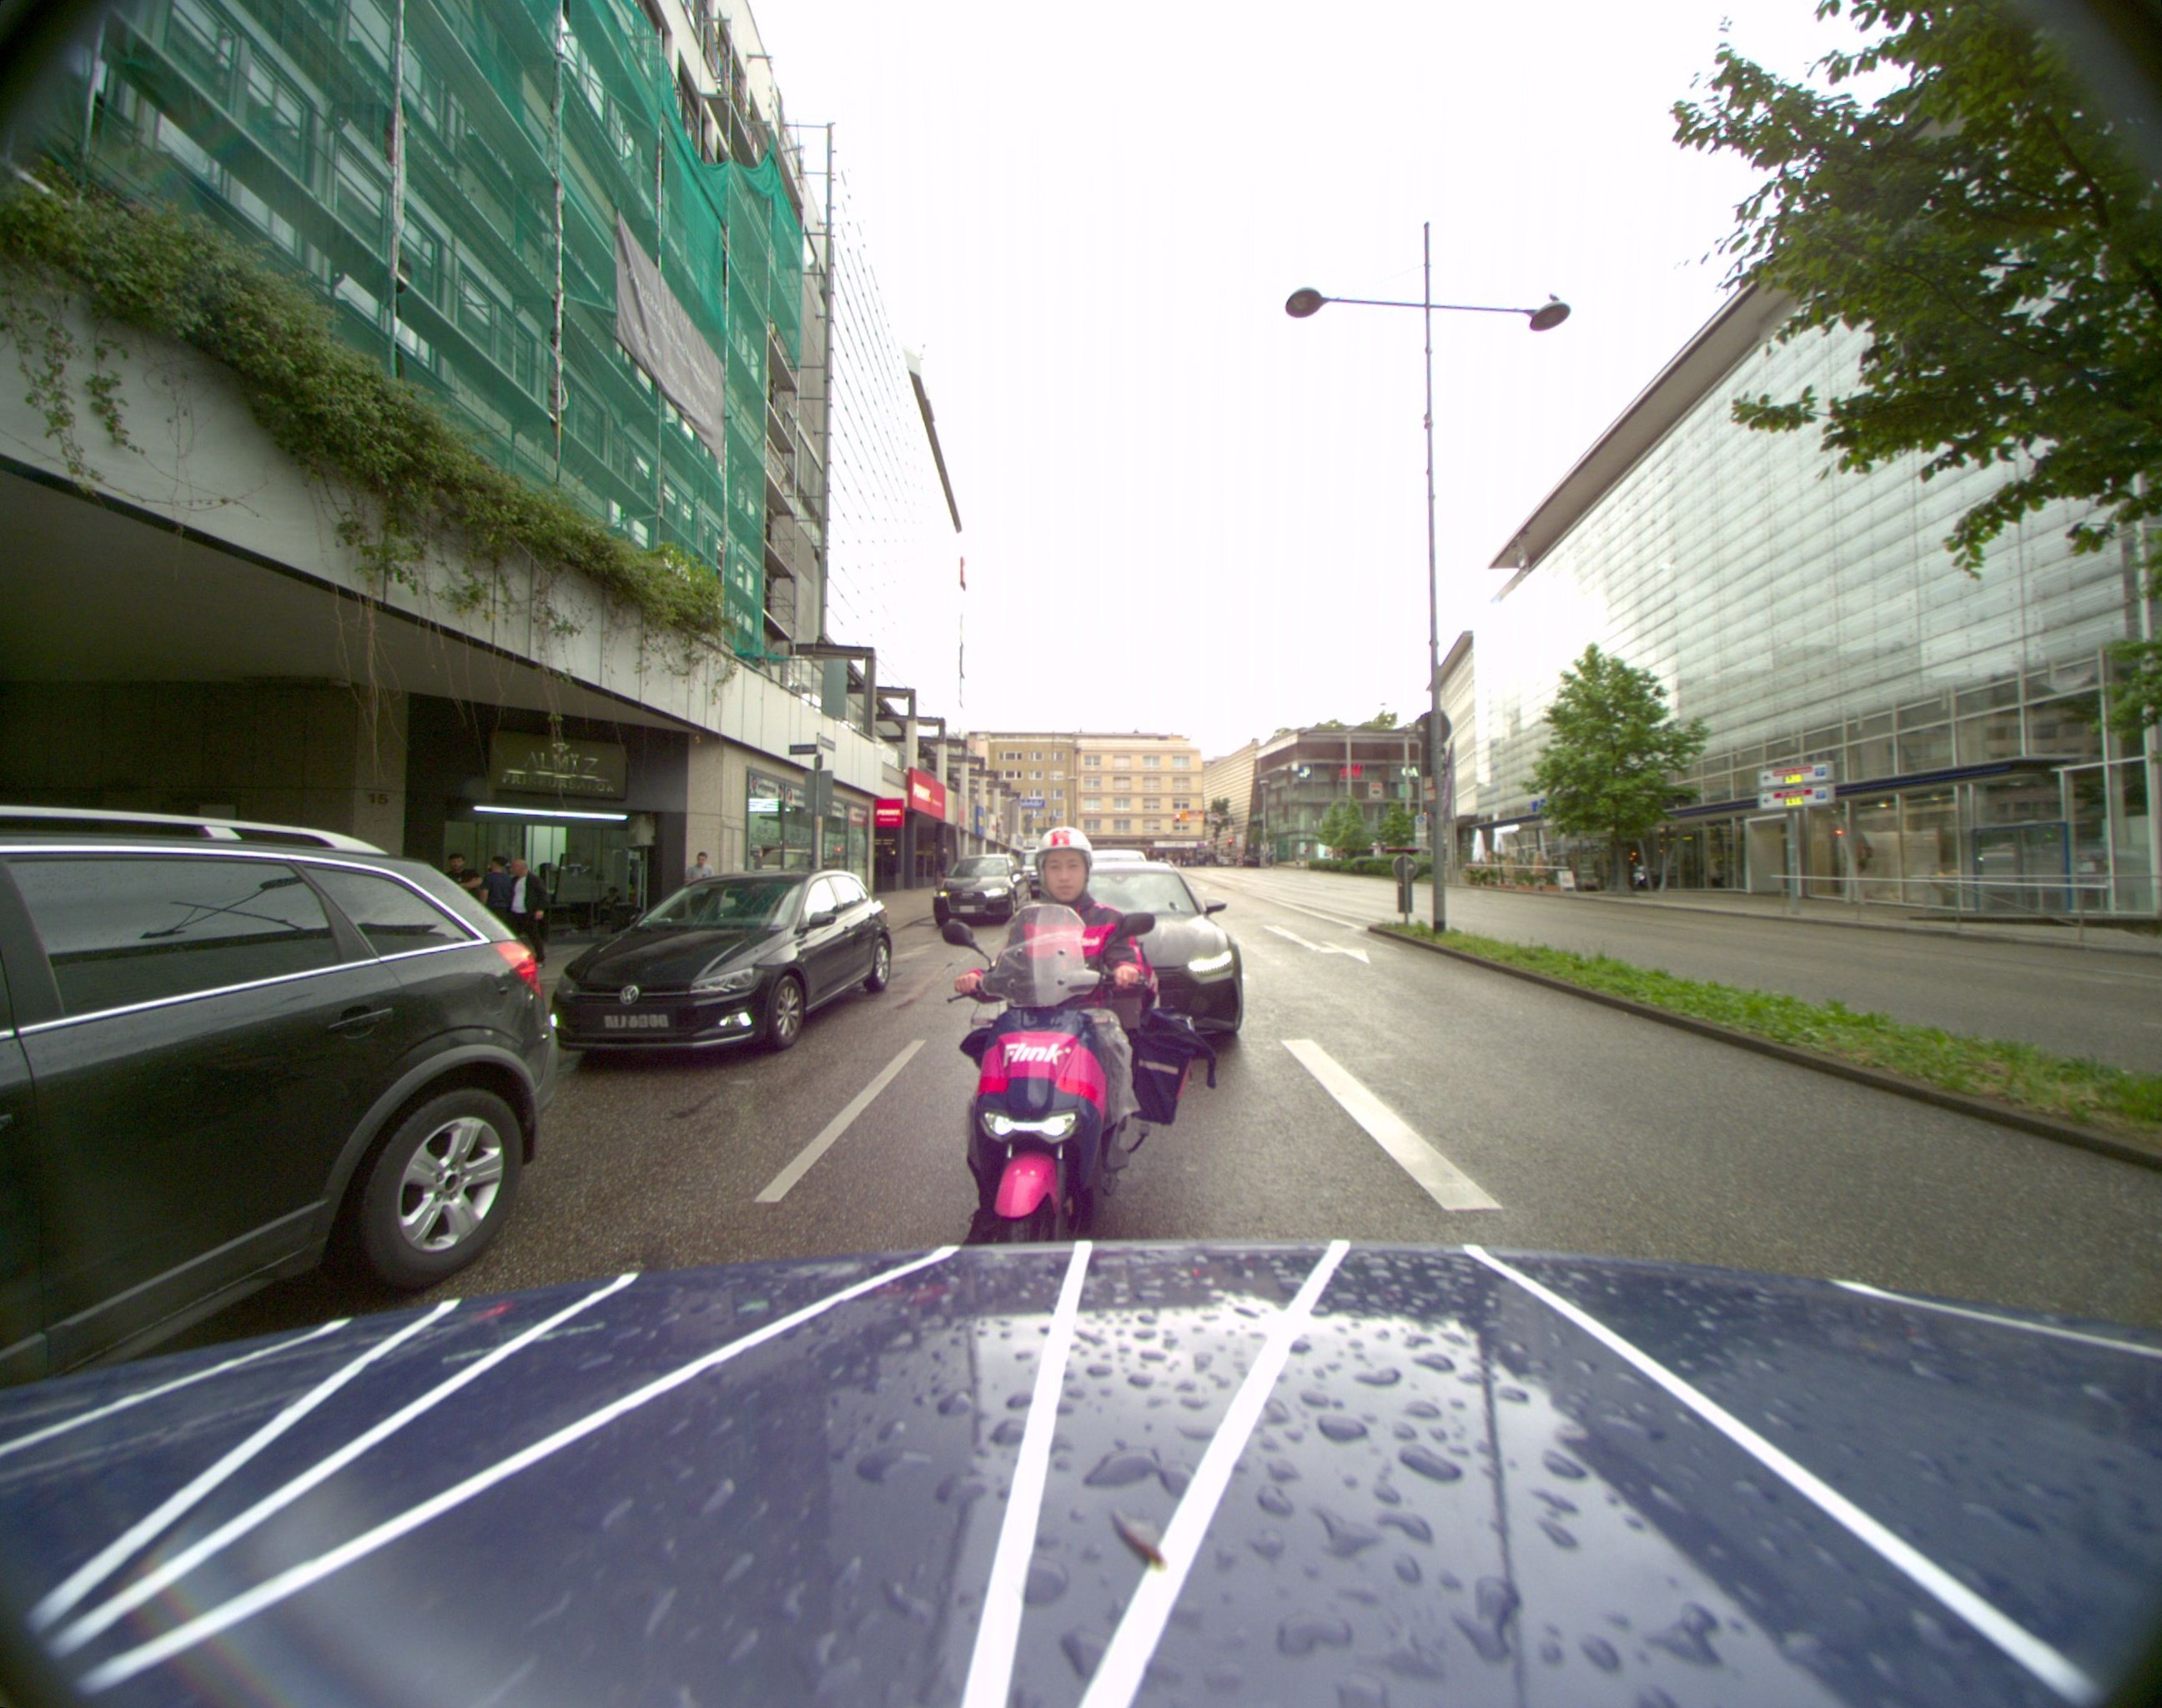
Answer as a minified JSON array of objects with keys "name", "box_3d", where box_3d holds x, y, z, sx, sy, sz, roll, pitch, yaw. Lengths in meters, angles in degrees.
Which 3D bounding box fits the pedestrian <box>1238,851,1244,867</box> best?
[{"name":"pedestrian","box_3d":[17.997,0.512,85.428,0.626,1.764,0.689,-2,2,7]}]

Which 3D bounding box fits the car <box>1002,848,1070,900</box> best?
[{"name":"car","box_3d":[-1.533,0.684,27.530,1.988,1.696,4.165,-2,-1,2]}]

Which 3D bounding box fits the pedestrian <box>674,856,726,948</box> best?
[{"name":"pedestrian","box_3d":[-7.059,0.869,14.111,0.639,1.633,0.733,-2,2,-12]}]

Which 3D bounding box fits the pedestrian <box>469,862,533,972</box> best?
[{"name":"pedestrian","box_3d":[-8.757,0.926,11.494,0.640,1.586,0.576,-3,2,-32]}]

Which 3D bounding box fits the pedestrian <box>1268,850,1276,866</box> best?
[{"name":"pedestrian","box_3d":[21.458,0.464,85.359,0.626,1.764,0.689,-2,2,5]}]

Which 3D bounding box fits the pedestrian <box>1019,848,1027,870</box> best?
[{"name":"pedestrian","box_3d":[-3.948,0.339,51.547,0.510,1.492,0.579,0,2,0]}]

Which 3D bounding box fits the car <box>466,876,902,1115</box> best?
[{"name":"car","box_3d":[-3.194,1.027,7.228,1.759,1.495,4.165,-2,-1,3]}]

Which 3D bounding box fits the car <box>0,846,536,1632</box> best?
[{"name":"car","box_3d":[-3.331,0.883,1.240,1.764,1.755,4.164,-2,0,1]}]

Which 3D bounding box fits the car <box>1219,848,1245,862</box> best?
[{"name":"car","box_3d":[22.993,0.115,115.623,1.994,2.002,4.597,1,1,36]}]

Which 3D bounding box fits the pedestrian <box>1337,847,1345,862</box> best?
[{"name":"pedestrian","box_3d":[27.531,0.033,80.487,0.633,1.620,0.602,1,1,4]}]

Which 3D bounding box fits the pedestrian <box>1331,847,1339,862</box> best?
[{"name":"pedestrian","box_3d":[27.252,0.029,81.529,0.633,1.620,0.602,0,1,2]}]

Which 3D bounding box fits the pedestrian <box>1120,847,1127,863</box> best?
[{"name":"pedestrian","box_3d":[4.413,0.105,79.432,0.634,1.620,0.602,0,1,-1]}]

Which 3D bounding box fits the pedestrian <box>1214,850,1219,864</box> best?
[{"name":"pedestrian","box_3d":[15.563,0.338,87.284,0.428,1.620,0.602,1,1,3]}]

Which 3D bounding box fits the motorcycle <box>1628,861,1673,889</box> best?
[{"name":"motorcycle","box_3d":[28.020,1.031,37.395,1.707,1.319,0.620,0,1,1]}]

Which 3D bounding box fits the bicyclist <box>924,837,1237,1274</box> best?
[{"name":"bicyclist","box_3d":[0.006,0.716,3.118,1.063,1.534,0.825,-2,2,0]}]

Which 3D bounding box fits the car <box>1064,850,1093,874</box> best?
[{"name":"car","box_3d":[-0.146,0.613,57.850,1.988,1.696,4.165,-2,-1,2]}]

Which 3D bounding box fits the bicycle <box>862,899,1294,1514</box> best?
[{"name":"bicycle","box_3d":[0.012,0.975,3.363,1.034,1.279,2.948,-2,1,1]}]

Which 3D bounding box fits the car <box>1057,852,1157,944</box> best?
[{"name":"car","box_3d":[0.546,0.755,15.193,1.675,1.520,4.164,-2,1,2]}]

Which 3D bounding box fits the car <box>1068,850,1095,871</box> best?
[{"name":"car","box_3d":[0.064,0.549,63.980,1.988,1.696,4.165,-2,-1,2]}]

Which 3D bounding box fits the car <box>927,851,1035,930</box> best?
[{"name":"car","box_3d":[-2.274,0.784,18.408,1.841,1.598,4.164,-2,1,2]}]

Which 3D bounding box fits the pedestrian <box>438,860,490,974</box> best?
[{"name":"pedestrian","box_3d":[-9.544,0.953,11.759,0.466,1.698,0.484,0,2,42]}]

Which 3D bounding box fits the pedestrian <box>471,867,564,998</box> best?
[{"name":"pedestrian","box_3d":[-8.106,1.098,10.965,0.743,1.805,0.773,0,1,1]}]

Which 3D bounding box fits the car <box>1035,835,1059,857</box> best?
[{"name":"car","box_3d":[-3.133,-0.765,70.257,1.605,2.002,3.400,-2,1,7]}]

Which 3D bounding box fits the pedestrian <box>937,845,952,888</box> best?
[{"name":"pedestrian","box_3d":[-5.405,0.495,30.151,0.510,1.669,0.579,0,2,0]}]

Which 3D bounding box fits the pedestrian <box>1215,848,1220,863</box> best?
[{"name":"pedestrian","box_3d":[15.232,0.173,84.635,0.428,1.620,0.602,1,1,5]}]

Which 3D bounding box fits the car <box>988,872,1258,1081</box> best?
[{"name":"car","box_3d":[0.389,0.929,7.532,1.890,1.391,4.165,-2,-1,2]}]
